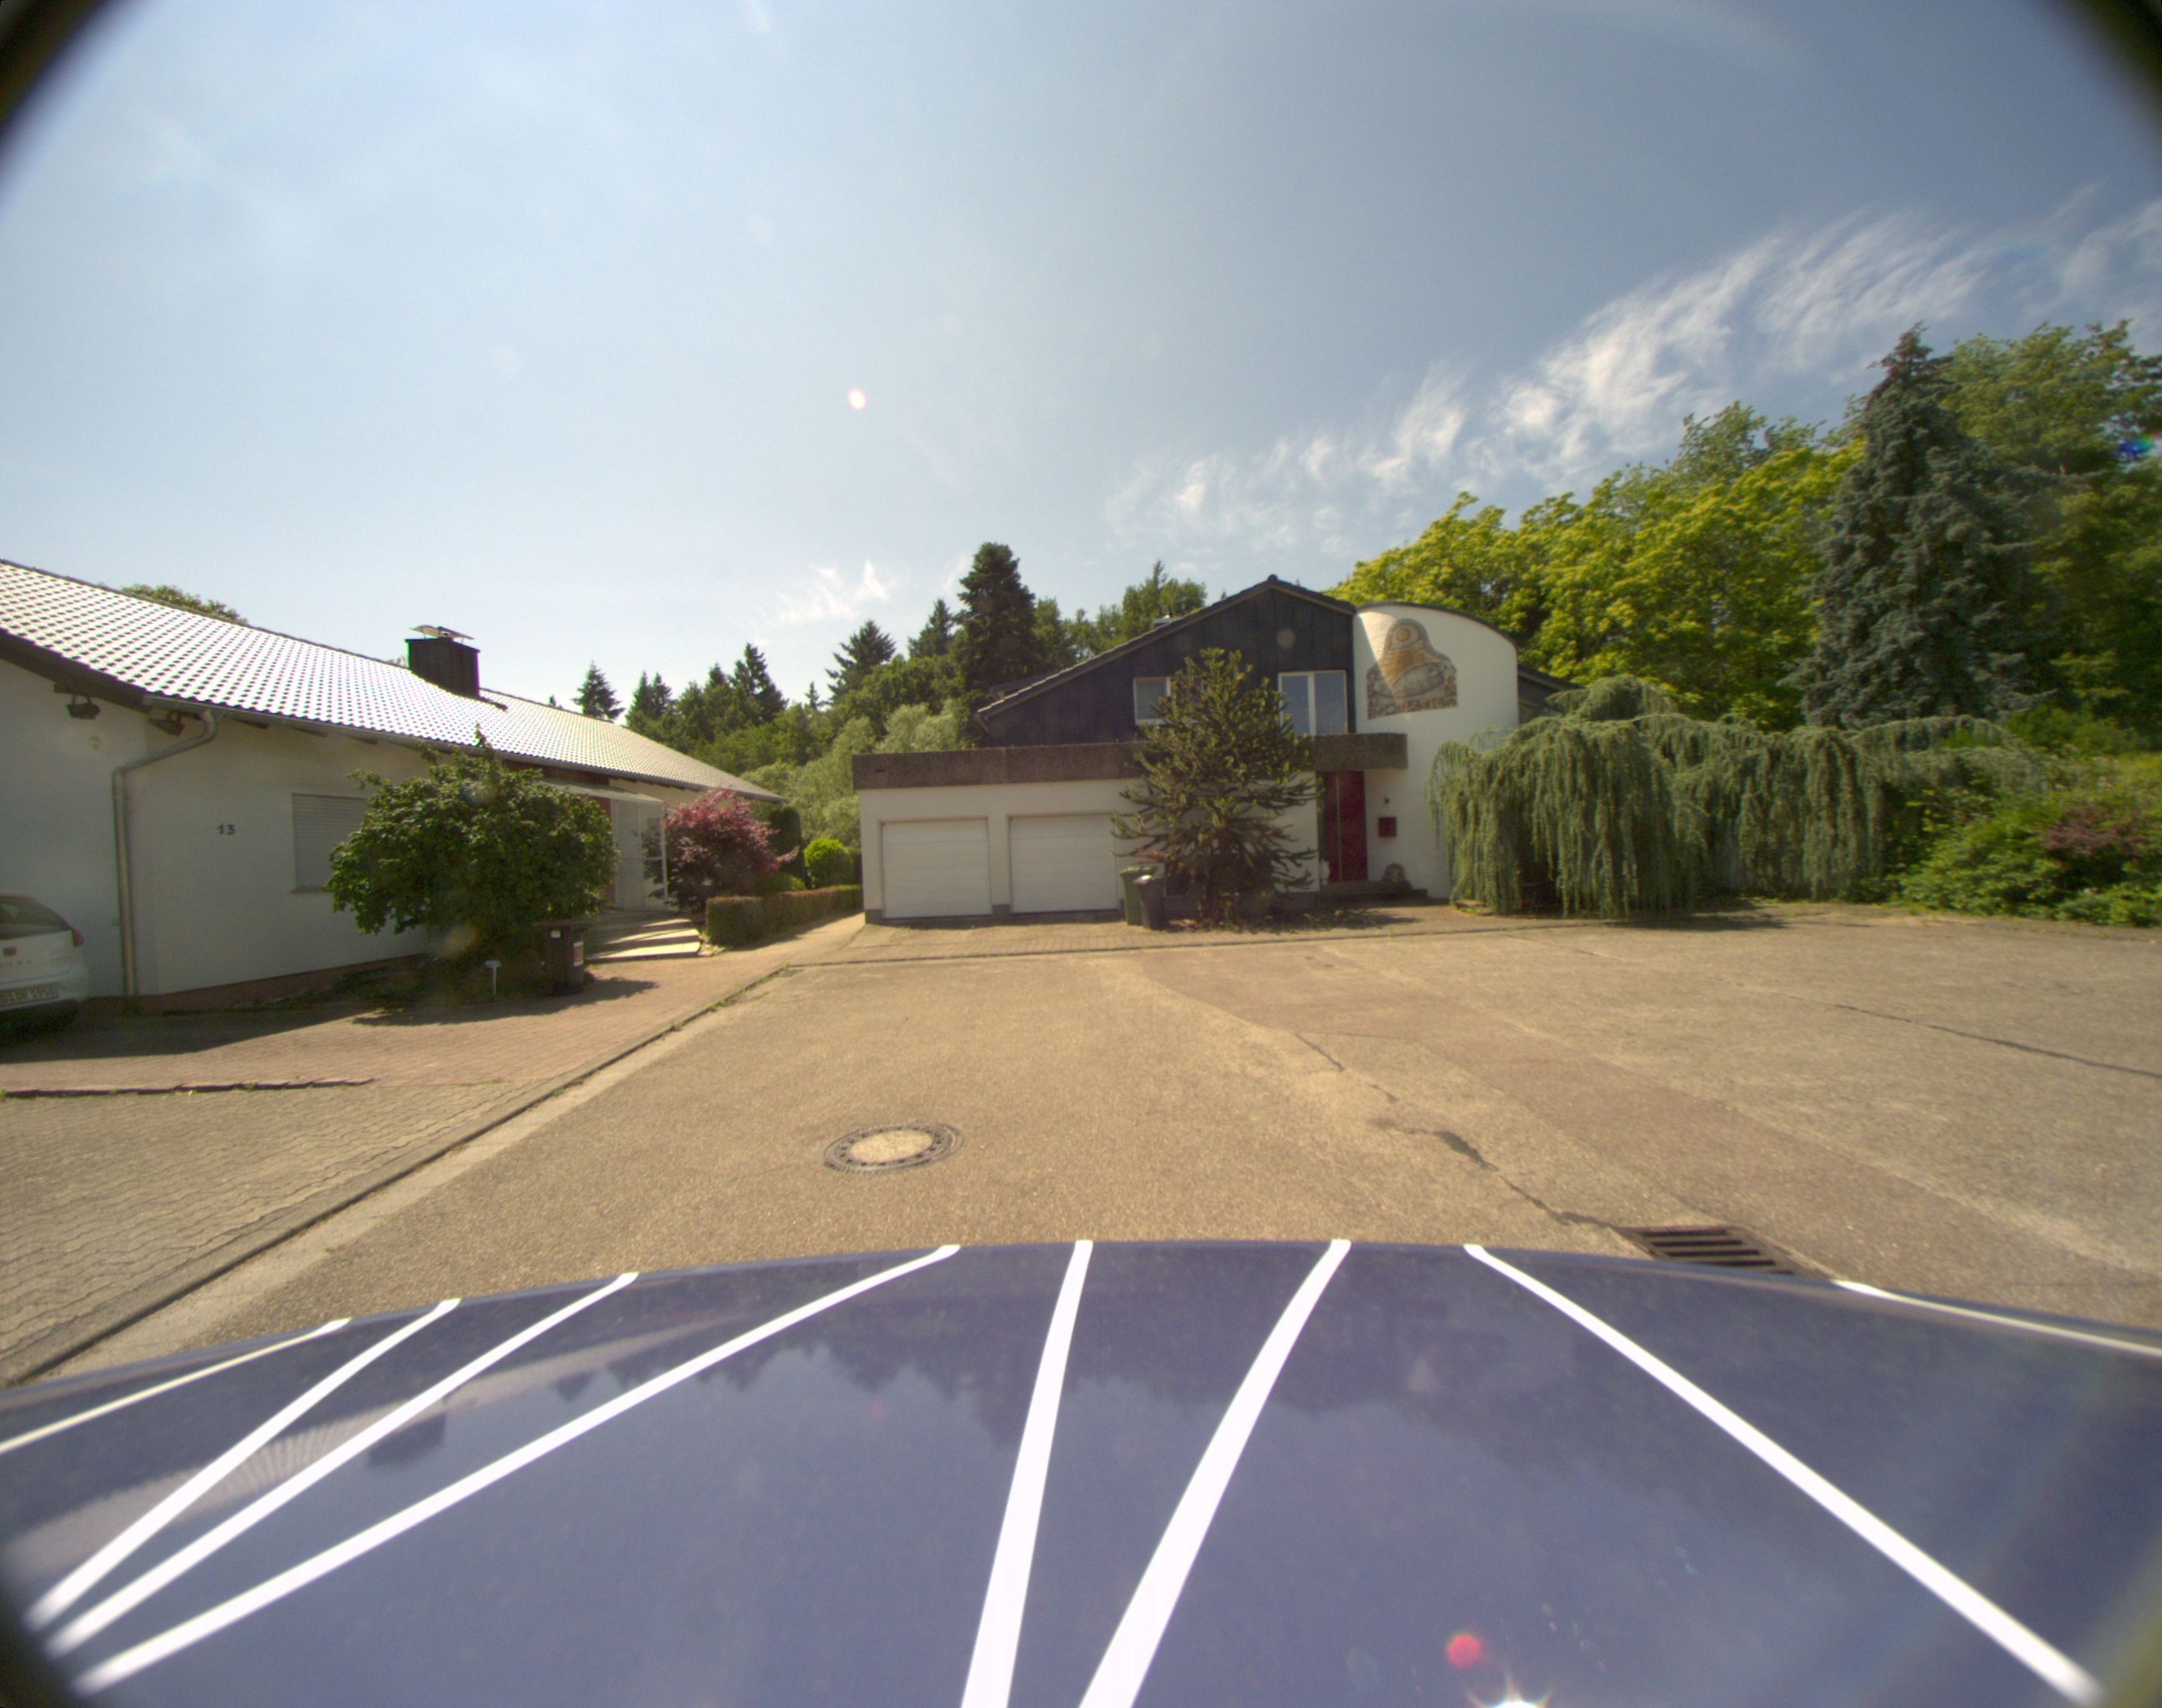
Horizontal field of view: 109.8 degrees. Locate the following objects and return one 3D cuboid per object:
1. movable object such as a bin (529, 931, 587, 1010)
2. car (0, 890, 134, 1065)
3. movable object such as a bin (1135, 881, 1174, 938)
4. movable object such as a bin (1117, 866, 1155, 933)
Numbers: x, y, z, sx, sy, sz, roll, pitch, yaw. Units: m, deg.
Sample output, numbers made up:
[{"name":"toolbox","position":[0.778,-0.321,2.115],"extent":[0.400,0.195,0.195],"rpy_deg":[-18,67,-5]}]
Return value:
[{"name":"movable object such as a bin","position":[-6.348,1.405,9.239],"extent":[0.390,0.886,0.375],"rpy_deg":[-2,2,-1]},{"name":"car","position":[-12.028,1.243,7.065],"extent":[3.998,1.559,1.751],"rpy_deg":[-2,1,-3]},{"name":"movable object such as a bin","position":[1.297,0.978,13.484],"extent":[0.524,0.944,0.388],"rpy_deg":[-3,1,-26]},{"name":"movable object such as a bin","position":[1.024,0.836,14.230],"extent":[0.633,1.196,0.551],"rpy_deg":[-2,1,1]}]
